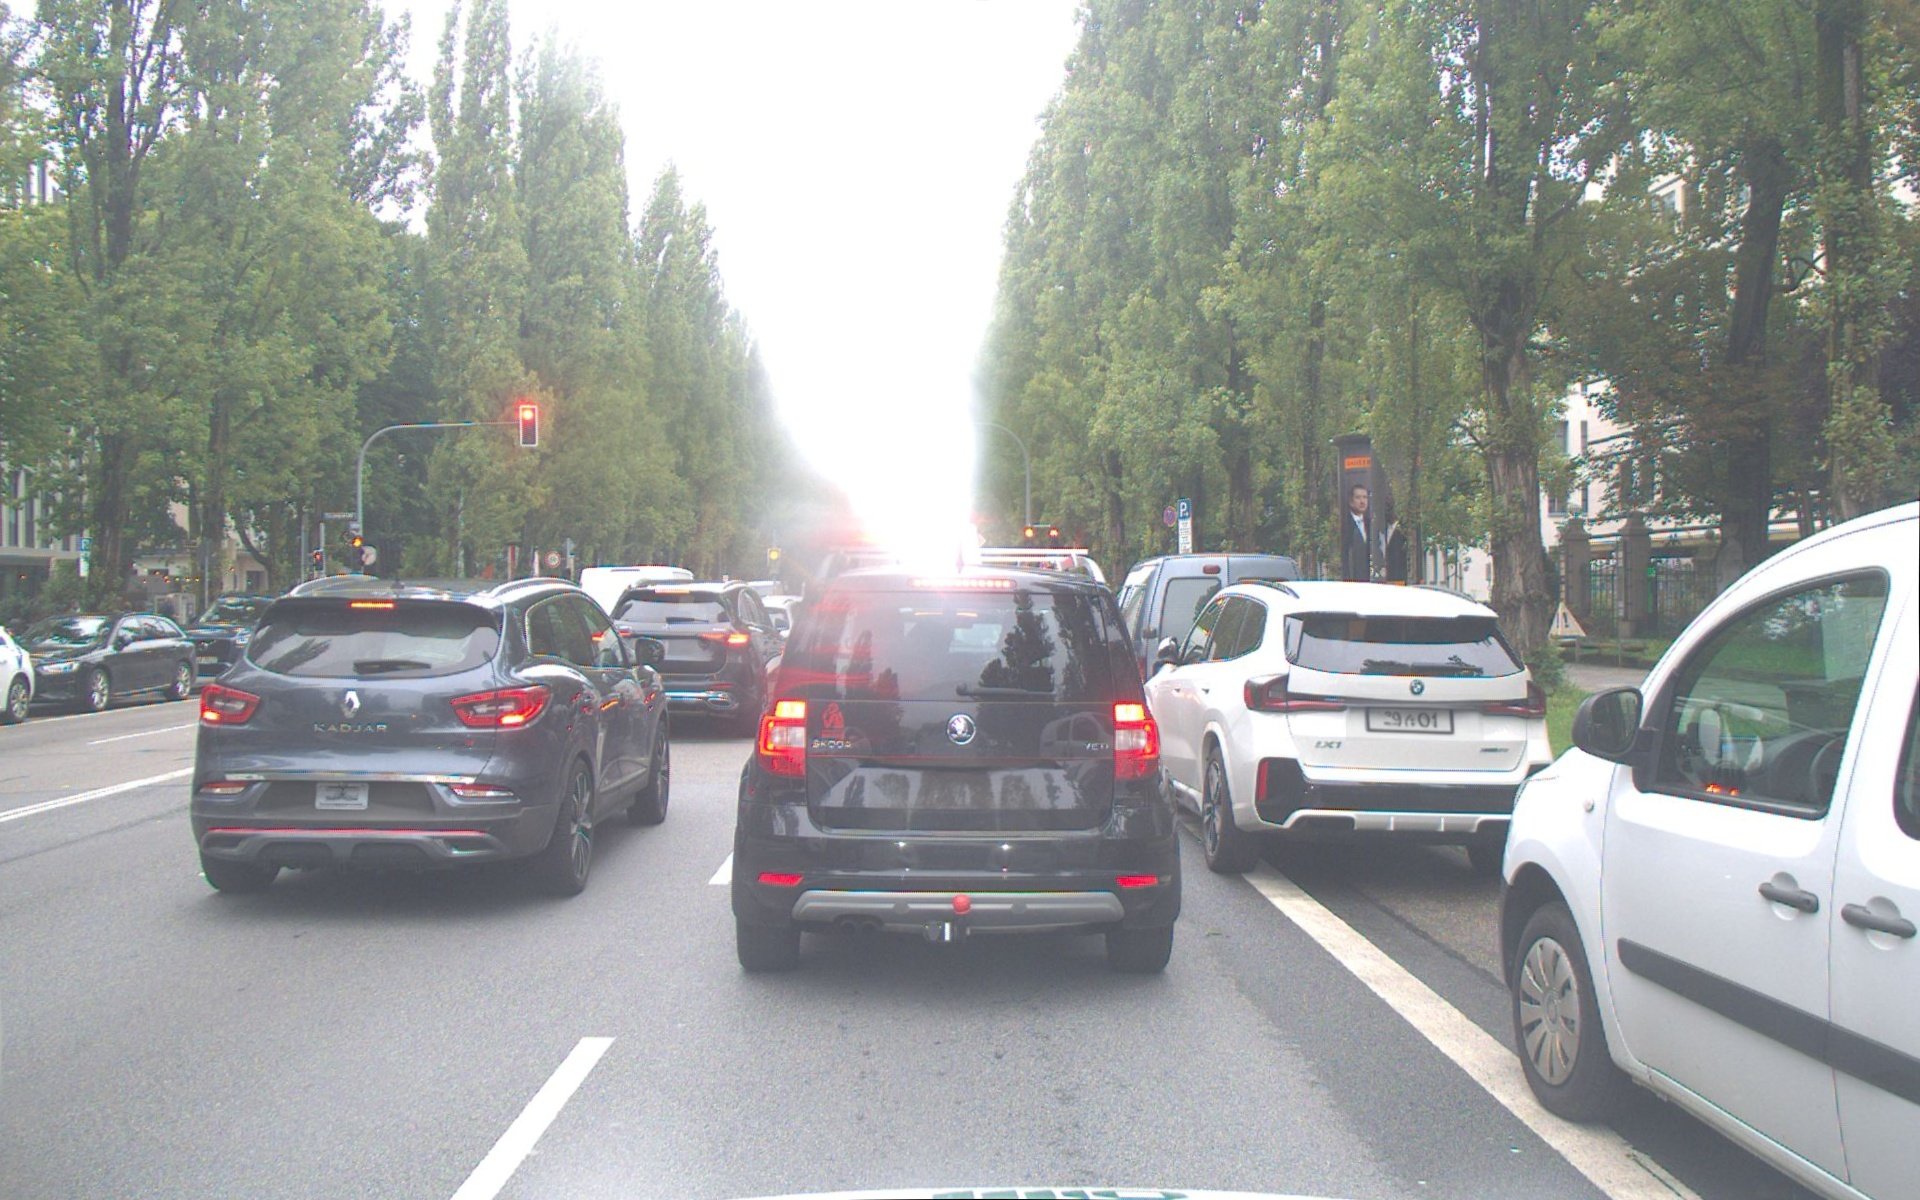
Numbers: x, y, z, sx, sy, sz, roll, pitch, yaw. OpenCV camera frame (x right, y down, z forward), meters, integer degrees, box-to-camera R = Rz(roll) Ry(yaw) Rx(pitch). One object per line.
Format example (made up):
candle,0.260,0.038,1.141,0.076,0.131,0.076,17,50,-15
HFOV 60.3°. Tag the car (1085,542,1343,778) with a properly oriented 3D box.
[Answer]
car,2.254,0.474,15.671,1.700,1.928,4.023,-1,0,-2

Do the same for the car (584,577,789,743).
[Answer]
car,-2.964,0.588,18.686,1.745,1.648,4.023,1,0,-2

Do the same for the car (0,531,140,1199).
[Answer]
car,-2.726,0.671,1.561,1.866,1.551,4.009,-1,0,0

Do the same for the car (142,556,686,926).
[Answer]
car,-2.746,0.620,9.380,1.798,1.613,4.184,1,0,-2

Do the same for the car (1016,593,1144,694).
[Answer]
car,1.889,0.647,26.934,1.700,1.501,3.561,-1,0,-2

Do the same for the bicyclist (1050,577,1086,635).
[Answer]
bicyclist,3.299,0.181,50.476,0.890,1.752,0.821,-1,0,-14

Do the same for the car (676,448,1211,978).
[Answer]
car,-0.103,0.391,7.746,1.818,1.801,3.999,1,0,-2

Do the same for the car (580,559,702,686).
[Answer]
car,-5.826,0.385,30.592,1.746,2.148,4.021,-1,0,-5

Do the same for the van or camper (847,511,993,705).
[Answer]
van or camper,-0.652,0.089,24.311,1.936,2.593,4.022,-1,0,-3

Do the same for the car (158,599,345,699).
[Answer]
car,-13.536,0.873,31.919,1.813,1.683,4.692,-3,0,-4

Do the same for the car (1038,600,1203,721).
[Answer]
car,2.022,0.733,21.739,1.700,1.411,3.561,-1,0,-2

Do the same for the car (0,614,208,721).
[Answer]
car,-13.389,0.994,25.805,1.591,1.413,4.163,-3,0,-4

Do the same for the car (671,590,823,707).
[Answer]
car,-3.155,0.665,25.228,1.954,1.588,3.998,-1,1,-3

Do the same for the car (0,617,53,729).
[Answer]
car,-13.096,0.988,20.506,1.591,1.413,4.163,-3,0,-4

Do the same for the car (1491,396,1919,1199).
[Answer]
car,2.725,0.559,3.333,1.814,1.914,4.166,-1,0,-3

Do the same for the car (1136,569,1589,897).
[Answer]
car,2.245,0.647,10.395,1.706,1.620,4.210,-1,0,-2
